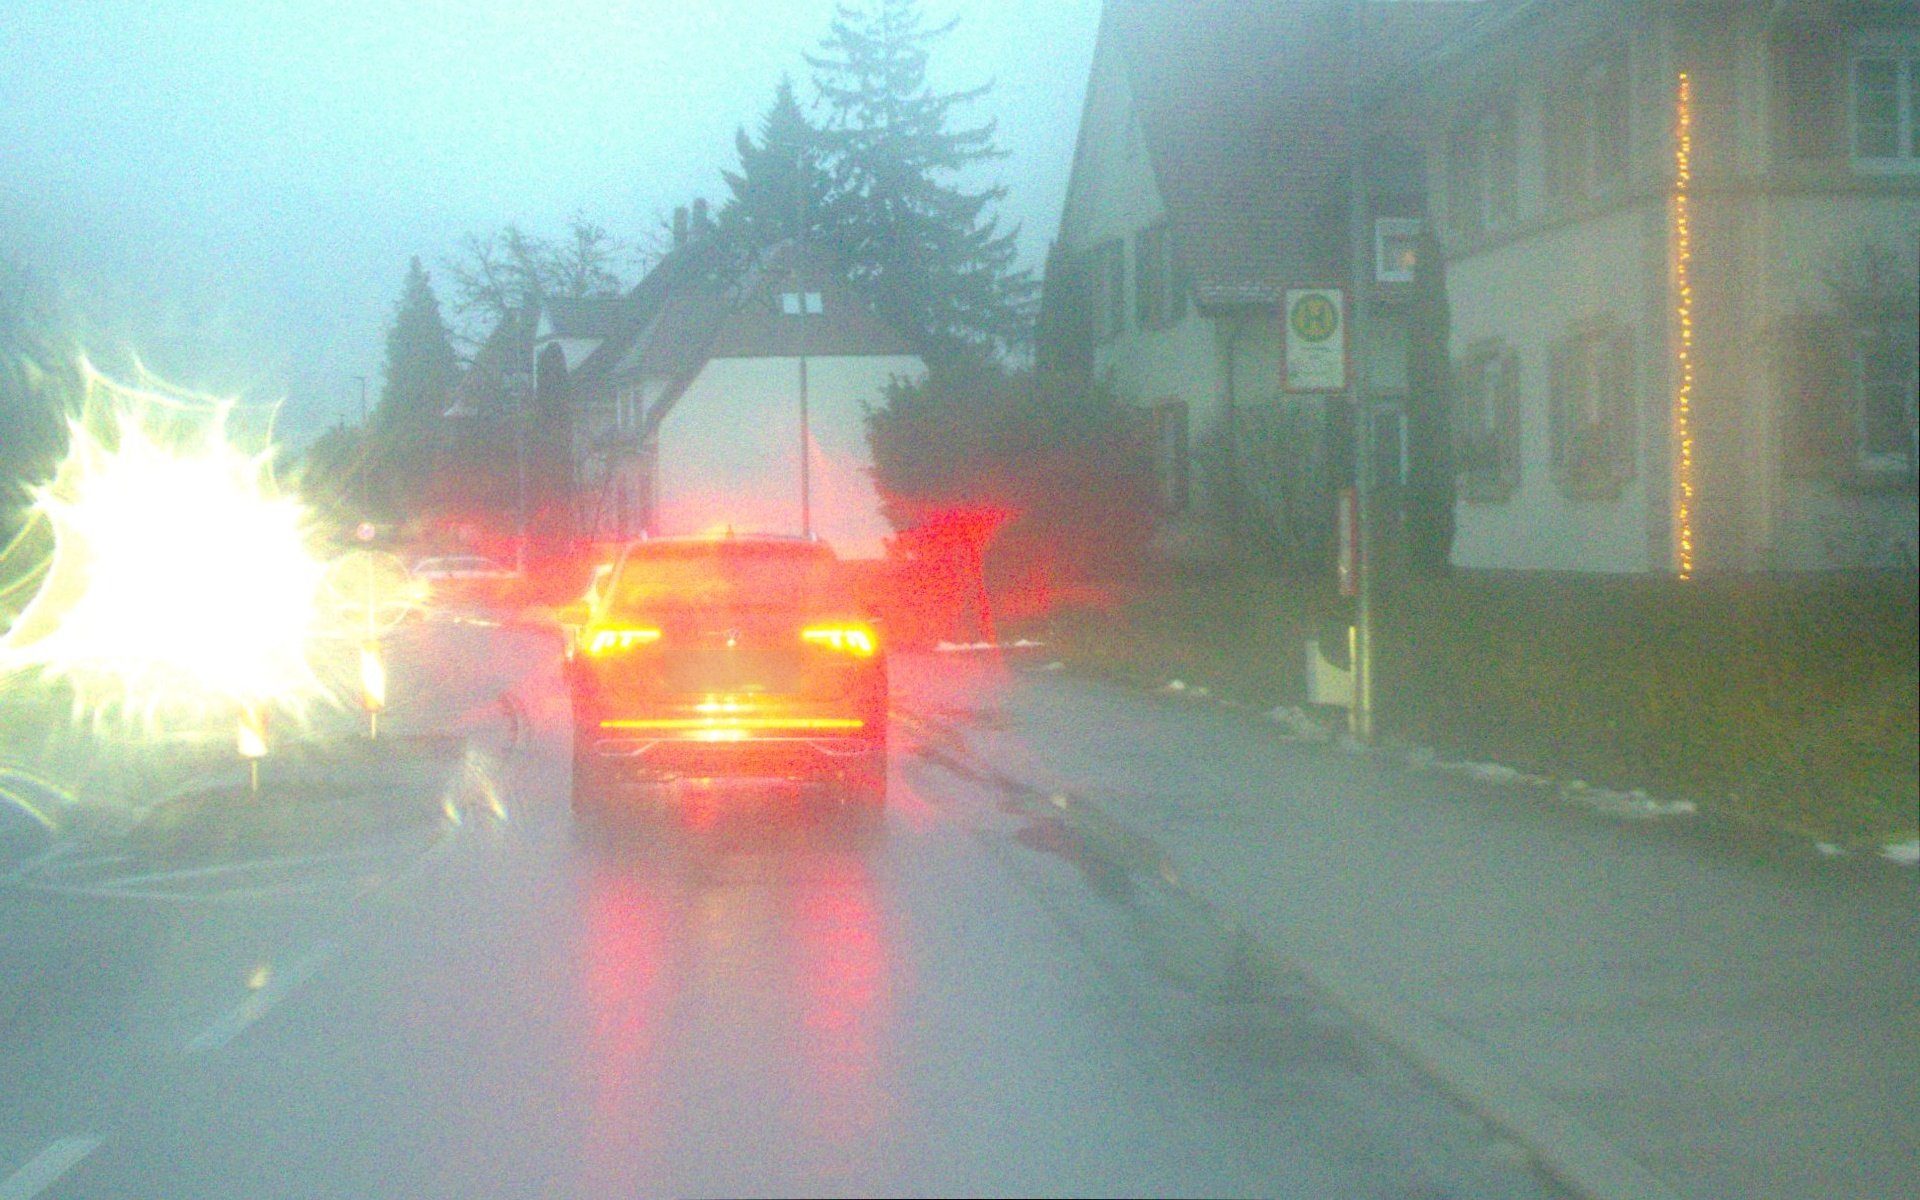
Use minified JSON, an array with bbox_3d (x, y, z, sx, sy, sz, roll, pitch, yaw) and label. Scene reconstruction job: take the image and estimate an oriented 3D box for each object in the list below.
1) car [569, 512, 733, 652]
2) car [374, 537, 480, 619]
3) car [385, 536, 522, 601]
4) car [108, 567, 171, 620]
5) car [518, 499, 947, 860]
[{"bbox_3d":[-3.852,-0.251,42.336,1.857,1.641,4.001,0,1,-7],"label":"car"},{"bbox_3d":[-13.253,-0.537,85.221,2.309,1.932,5.019,-1,0,-12],"label":"car"},{"bbox_3d":[-16.307,-1.021,110.674,4.245,2.007,1.811,-1,1,-11],"label":"car"},{"bbox_3d":[-25.857,-0.224,108.312,1.823,1.548,4.001,-2,1,-13],"label":"car"},{"bbox_3d":[-1.437,0.418,21.352,2.309,1.932,5.019,-1,0,-4],"label":"car"}]
